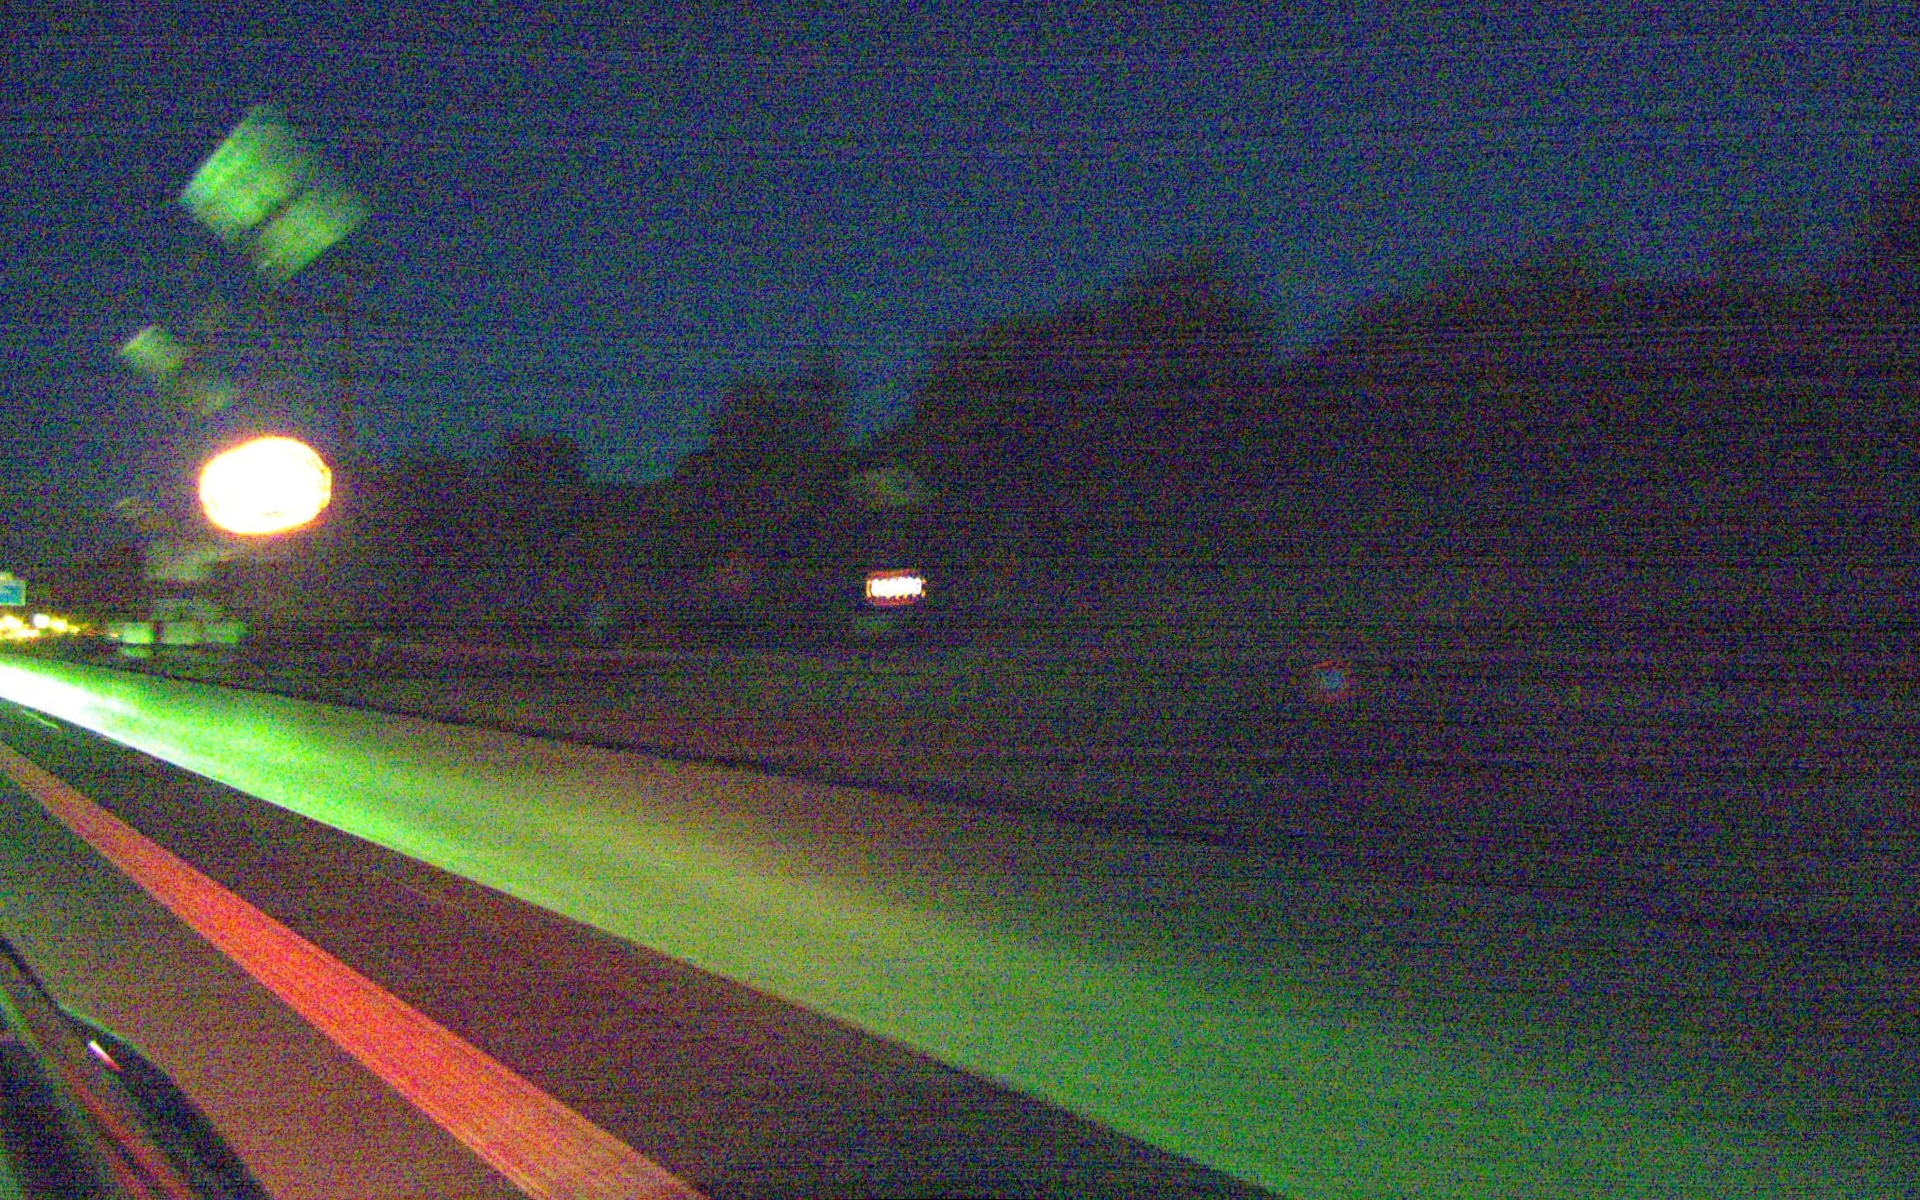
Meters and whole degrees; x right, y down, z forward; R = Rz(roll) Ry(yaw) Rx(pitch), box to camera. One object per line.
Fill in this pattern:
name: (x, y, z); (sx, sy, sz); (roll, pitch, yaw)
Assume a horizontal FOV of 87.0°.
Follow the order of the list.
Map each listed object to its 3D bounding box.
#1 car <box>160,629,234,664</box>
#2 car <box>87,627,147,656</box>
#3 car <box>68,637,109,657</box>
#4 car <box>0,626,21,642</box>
car: (-34.252, 2.090, 45.368); (4.580, 1.490, 1.732); (-2, -4, 42)
car: (-46.752, 2.300, 56.103); (4.578, 1.490, 1.732); (-2, -4, 40)
car: (-69.410, 3.727, 80.569); (4.578, 1.490, 1.732); (-2, -4, 40)
car: (-92.210, 3.332, 97.713); (4.578, 1.490, 1.732); (-2, -4, 40)
